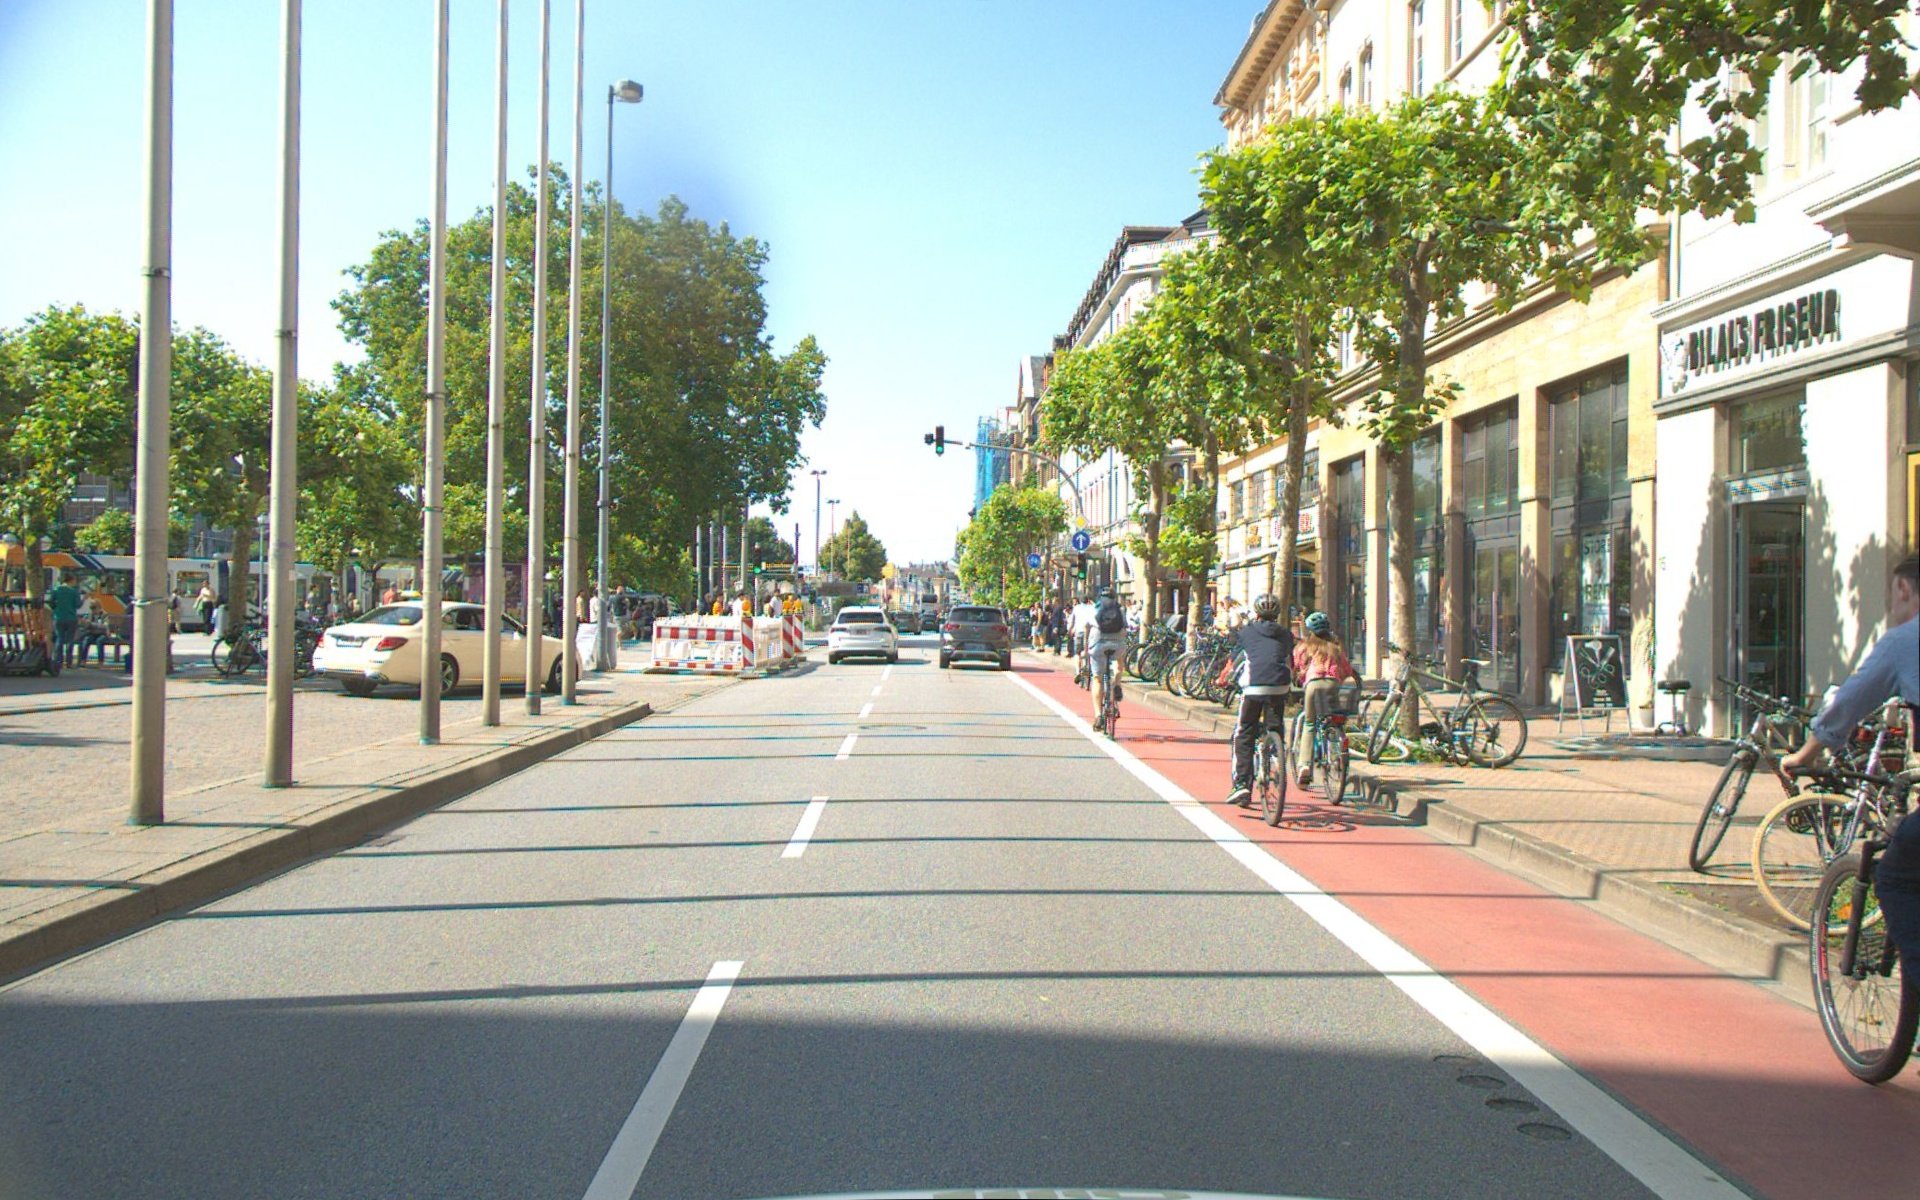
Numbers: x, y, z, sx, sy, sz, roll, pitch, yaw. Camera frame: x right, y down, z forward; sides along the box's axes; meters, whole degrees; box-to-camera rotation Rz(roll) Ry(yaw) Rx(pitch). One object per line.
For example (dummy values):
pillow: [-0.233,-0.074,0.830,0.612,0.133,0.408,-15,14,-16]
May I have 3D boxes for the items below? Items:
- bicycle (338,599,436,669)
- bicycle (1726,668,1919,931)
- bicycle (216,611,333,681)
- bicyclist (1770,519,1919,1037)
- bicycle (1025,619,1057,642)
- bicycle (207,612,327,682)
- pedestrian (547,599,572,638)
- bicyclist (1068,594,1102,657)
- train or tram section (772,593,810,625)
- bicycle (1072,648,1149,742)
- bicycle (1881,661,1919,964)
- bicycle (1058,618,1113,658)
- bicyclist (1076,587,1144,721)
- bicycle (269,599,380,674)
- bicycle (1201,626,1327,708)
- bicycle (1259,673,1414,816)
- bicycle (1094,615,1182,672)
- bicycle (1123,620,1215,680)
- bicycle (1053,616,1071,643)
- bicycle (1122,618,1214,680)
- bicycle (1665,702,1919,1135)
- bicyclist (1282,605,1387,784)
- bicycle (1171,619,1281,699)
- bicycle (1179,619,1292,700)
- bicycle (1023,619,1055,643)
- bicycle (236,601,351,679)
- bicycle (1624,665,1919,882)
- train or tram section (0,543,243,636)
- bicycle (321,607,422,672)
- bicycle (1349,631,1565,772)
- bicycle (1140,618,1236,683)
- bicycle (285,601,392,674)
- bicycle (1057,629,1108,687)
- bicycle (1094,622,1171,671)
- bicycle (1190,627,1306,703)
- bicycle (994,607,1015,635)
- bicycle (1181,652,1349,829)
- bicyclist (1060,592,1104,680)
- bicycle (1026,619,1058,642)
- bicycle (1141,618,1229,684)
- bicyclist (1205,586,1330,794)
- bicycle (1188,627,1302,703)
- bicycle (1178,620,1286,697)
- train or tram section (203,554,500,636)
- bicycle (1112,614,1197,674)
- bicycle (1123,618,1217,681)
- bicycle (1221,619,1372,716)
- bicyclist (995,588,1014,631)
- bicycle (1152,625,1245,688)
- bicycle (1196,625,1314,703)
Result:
bicycle: [-12.022,0.711,34.755,1.747,1.371,0.740,3,-1,-5]
bicycle: [4.613,0.935,7.698,1.801,1.146,0.498,2,-1,9]
bicycle: [-11.827,0.788,28.559,1.747,1.152,0.562,1,-1,-5]
bicyclist: [3.063,0.517,4.988,0.685,1.471,0.960,2,-1,-5]
bicycle: [3.595,1.366,73.172,1.391,0.997,0.445,0,0,-1]
bicycle: [-11.659,0.786,27.875,1.747,1.125,0.562,1,-1,-5]
pedestrian: [-15.577,0.721,64.370,0.619,1.504,0.731,0,-1,19]
bicyclist: [3.691,0.738,48.903,0.569,1.828,0.846,-1,1,-36]
train or tram section: [-18.524,1.019,181.884,2.558,3.407,11.004,1,0,2]
bicycle: [1.731,1.080,19.283,0.617,0.997,2.088,1,-1,-2]
bicycle: [4.802,0.889,6.637,1.801,1.218,0.674,1,-1,6]
bicycle: [3.694,1.113,48.910,0.595,1.101,1.816,-1,1,-36]
bicyclist: [1.738,0.623,19.337,0.617,1.507,1.197,1,-1,-2]
bicycle: [-11.676,0.661,30.424,1.747,1.332,0.662,1,-1,-5]
bicycle: [4.405,0.962,24.038,1.693,1.128,0.736,1,-1,1]
bicycle: [3.009,1.128,13.431,0.588,0.942,2.085,3,0,-5]
bicycle: [4.105,0.999,38.163,1.905,1.279,0.701,1,-1,-21]
bicycle: [4.338,1.029,34.386,1.806,1.184,0.659,1,-1,1]
bicycle: [4.456,1.283,72.146,0.391,1.133,1.425,0,0,19]
bicycle: [4.238,0.999,33.753,1.806,1.222,0.608,1,-1,1]
bicycle: [3.043,0.955,5.095,0.685,1.146,2.079,2,-1,-5]
bicyclist: [3.027,0.747,13.427,0.588,1.381,0.720,3,0,-5]
bicycle: [4.309,0.948,26.807,1.693,1.238,0.477,1,-1,1]
bicycle: [4.334,0.933,26.083,1.693,1.238,0.477,1,-1,1]
bicycle: [3.457,1.362,72.707,1.391,0.997,0.445,0,0,-1]
bicycle: [-11.728,0.701,29.133,1.747,1.332,0.562,1,-1,-5]
bicycle: [4.821,0.960,9.359,1.801,1.116,0.794,1,-1,3]
train or tram section: [-36.989,-0.353,71.995,2.567,3.741,10.968,1,-1,33]
bicycle: [-11.644,0.771,32.745,1.747,1.236,0.662,1,-1,-5]
bicycle: [4.622,0.934,15.463,1.801,1.206,0.670,2,-1,3]
bicycle: [4.467,0.990,32.447,1.806,1.222,0.474,1,-1,1]
bicycle: [-11.766,0.700,31.354,1.747,1.332,0.662,1,-1,-5]
bicycle: [2.332,1.099,31.807,0.759,1.023,2.329,0,0,-1]
bicycle: [4.059,1.097,39.041,1.747,1.142,0.562,0,-1,-5]
bicycle: [4.400,0.990,25.304,1.693,1.128,0.402,1,-1,1]
bicycle: [1.648,0.776,61.601,0.634,1.015,2.030,1,0,-2]
bicycle: [2.238,0.999,12.416,0.685,1.146,2.079,2,-1,-5]
bicyclist: [2.332,0.674,31.792,0.759,1.664,0.851,0,0,-1]
bicycle: [3.702,1.379,74.559,1.391,0.997,0.401,0,0,-1]
bicycle: [4.351,0.984,32.031,1.615,1.222,0.474,1,-1,1]
bicyclist: [2.266,0.651,12.262,0.685,1.466,0.790,2,-1,-5]
bicycle: [4.423,1.009,25.724,1.693,1.128,0.477,1,-1,1]
bicycle: [4.479,0.959,27.303,1.693,1.238,0.477,1,-1,1]
train or tram section: [-29.956,-0.139,82.848,2.567,3.741,15.501,1,-1,33]
bicycle: [4.421,0.994,37.574,1.795,1.332,0.684,1,-1,-22]
bicycle: [4.215,0.989,33.246,1.806,1.222,0.545,1,-1,1]
bicycle: [4.573,0.909,22.561,1.891,1.270,0.736,1,-1,1]
bicyclist: [1.647,0.363,61.653,0.634,1.578,0.817,1,-1,-2]
bicycle: [4.393,1.031,30.509,1.615,1.114,0.607,1,-1,1]
bicycle: [4.434,0.958,24.891,1.693,1.128,0.402,1,-1,1]
